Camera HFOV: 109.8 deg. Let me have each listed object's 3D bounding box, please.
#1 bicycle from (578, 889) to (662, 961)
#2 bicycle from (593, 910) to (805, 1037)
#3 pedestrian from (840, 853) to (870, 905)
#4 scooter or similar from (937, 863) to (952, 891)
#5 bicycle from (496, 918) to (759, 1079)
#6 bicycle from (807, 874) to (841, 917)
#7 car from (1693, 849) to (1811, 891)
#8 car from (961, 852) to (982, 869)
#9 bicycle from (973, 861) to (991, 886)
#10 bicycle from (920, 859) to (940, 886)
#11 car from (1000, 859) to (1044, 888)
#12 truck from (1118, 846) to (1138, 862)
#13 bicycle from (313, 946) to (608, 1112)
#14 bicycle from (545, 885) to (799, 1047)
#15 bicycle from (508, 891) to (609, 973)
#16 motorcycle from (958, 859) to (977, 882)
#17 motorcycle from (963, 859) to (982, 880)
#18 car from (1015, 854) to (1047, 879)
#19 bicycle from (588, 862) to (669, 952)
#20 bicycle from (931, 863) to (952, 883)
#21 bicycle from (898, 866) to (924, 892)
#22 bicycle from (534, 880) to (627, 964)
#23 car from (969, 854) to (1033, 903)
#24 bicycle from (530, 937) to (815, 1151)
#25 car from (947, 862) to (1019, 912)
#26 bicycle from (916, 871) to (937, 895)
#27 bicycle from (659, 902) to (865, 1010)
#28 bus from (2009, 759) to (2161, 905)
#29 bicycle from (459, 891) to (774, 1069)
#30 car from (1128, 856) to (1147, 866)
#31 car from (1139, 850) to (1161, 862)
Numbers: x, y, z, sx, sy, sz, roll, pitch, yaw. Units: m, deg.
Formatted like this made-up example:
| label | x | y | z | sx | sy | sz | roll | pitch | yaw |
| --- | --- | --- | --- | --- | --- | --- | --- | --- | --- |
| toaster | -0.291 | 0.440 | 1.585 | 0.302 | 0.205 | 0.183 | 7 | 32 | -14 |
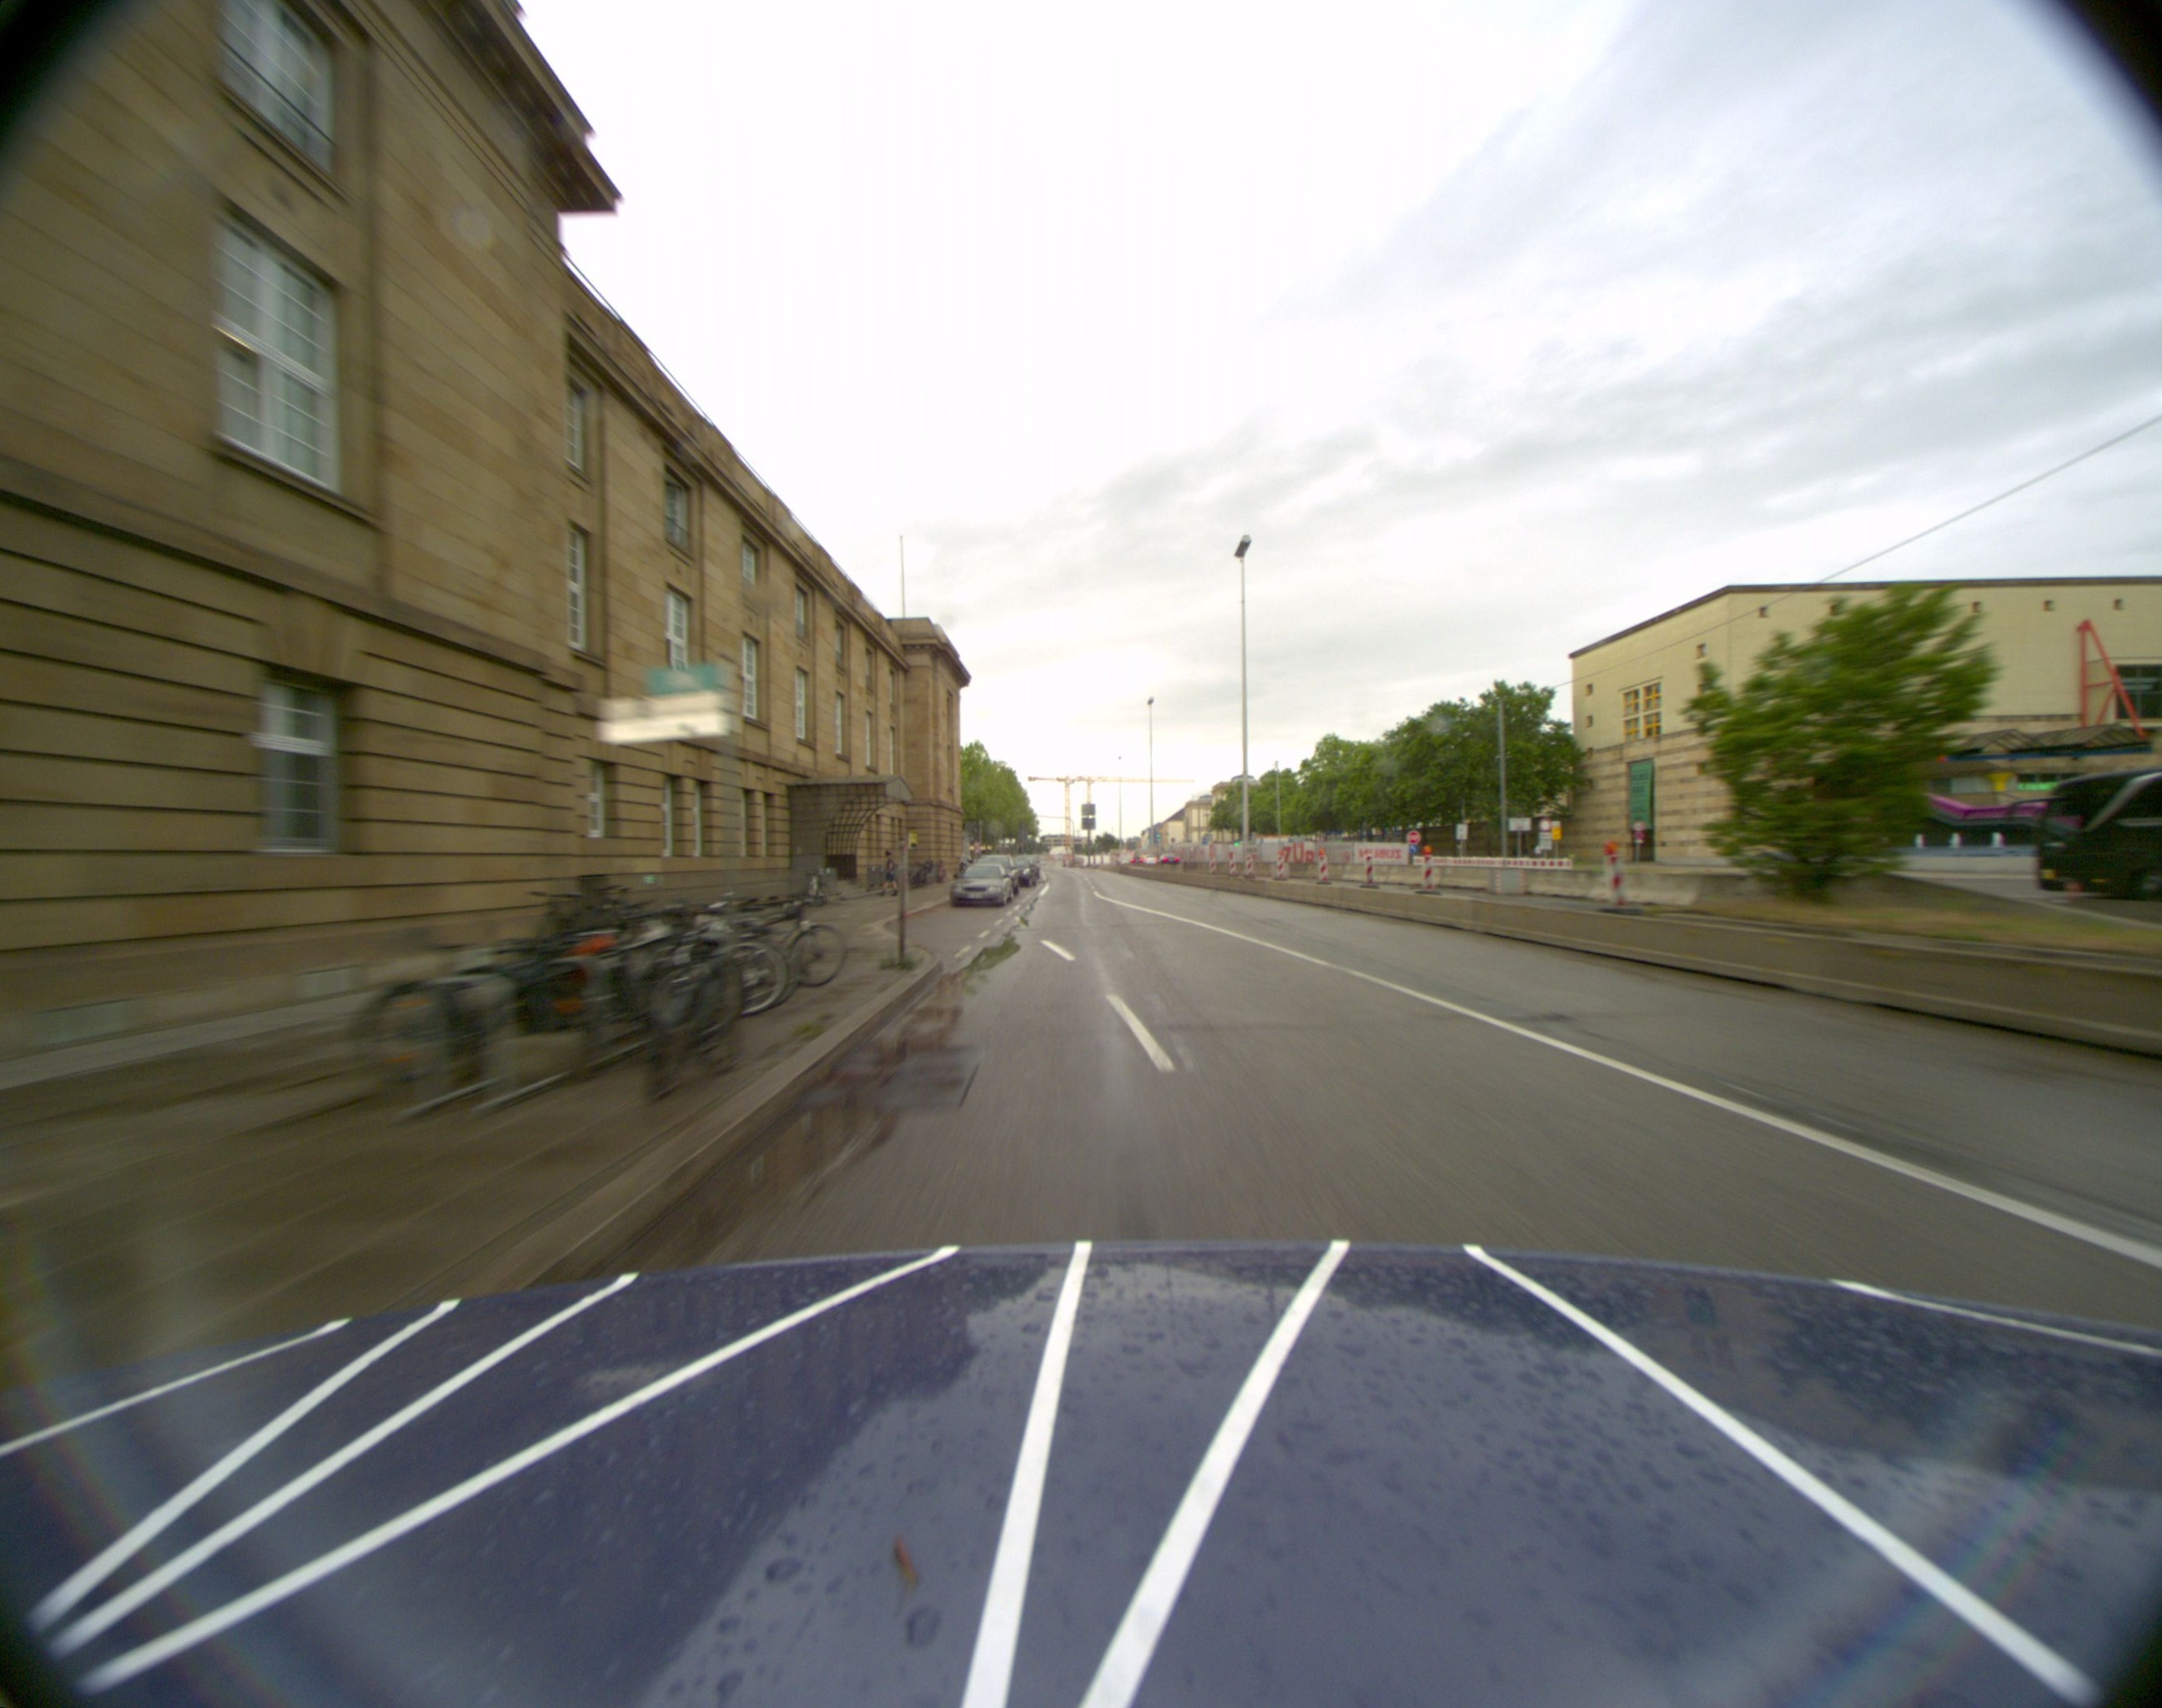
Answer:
| label | x | y | z | sx | sy | sz | roll | pitch | yaw |
| --- | --- | --- | --- | --- | --- | --- | --- | --- | --- |
| bicycle | -8.133 | 1.215 | 13.482 | 0.353 | 1.074 | 1.789 | -2 | 1 | 0 |
| bicycle | -3.632 | 1.125 | 7.309 | 1.683 | 1.084 | 0.650 | -2 | 1 | 2 |
| pedestrian | -7.796 | 0.849 | 26.186 | 0.797 | 1.767 | 0.642 | 2 | 1 | 0 |
| scooter or similar | -7.459 | 1.246 | 41.593 | 0.414 | 1.409 | 1.268 | 3 | 1 | 4 |
| bicycle | -3.505 | 1.102 | 5.950 | 1.683 | 1.116 | 0.601 | -2 | 0 | 2 |
| bicycle | -7.849 | 1.240 | 23.292 | 0.465 | 1.208 | 1.691 | -2 | 1 | -2 |
| car | 25.763 | 0.585 | 29.327 | 1.596 | 1.492 | 3.213 | 1 | 0 | -2 |
| car | -10.882 | 0.634 | 75.779 | 1.585 | 1.528 | 3.021 | 0 | 1 | 2 |
| bicycle | -5.045 | 0.984 | 38.645 | 0.778 | 1.211 | 1.963 | 0 | 1 | -11 |
| bicycle | -7.456 | 0.901 | 37.531 | 0.732 | 1.261 | 1.758 | -1 | 1 | -5 |
| car | -3.095 | 0.983 | 40.334 | 1.762 | 1.406 | 3.153 | 0 | 1 | 6 |
| truck | 8.325 | -0.051 | 136.020 | 2.405 | 2.703 | 7.351 | -1 | 0 | -5 |
| bicycle | -4.215 | 1.180 | 5.220 | 1.593 | 0.988 | 0.525 | -2 | 1 | 2 |
| bicycle | -3.644 | 0.983 | 6.859 | 1.910 | 1.325 | 0.650 | -2 | 1 | 2 |
| bicycle | -8.095 | 1.171 | 11.863 | 0.353 | 1.074 | 1.789 | 0 | 1 | 0 |
| motorcycle | -6.966 | 1.026 | 46.730 | 0.668 | 1.318 | 2.135 | -1 | 1 | 4 |
| motorcycle | -6.978 | 0.978 | 48.964 | 0.808 | 1.291 | 1.799 | -1 | 1 | 4 |
| car | -3.342 | 0.802 | 51.573 | 1.876 | 1.609 | 4.404 | 0 | 0 | 0 |
| bicycle | -8.221 | 0.926 | 13.880 | 0.454 | 1.507 | 1.599 | -3 | 0 | -1 |
| bicycle | -7.745 | 1.042 | 42.197 | 0.419 | 1.043 | 1.773 | -1 | 1 | 13 |
| bicycle | -7.272 | 1.066 | 32.579 | 0.585 | 1.032 | 1.759 | -1 | 1 | 4 |
| bicycle | -8.344 | 1.089 | 12.742 | 0.454 | 1.244 | 1.599 | -3 | 0 | -1 |
| car | -3.218 | 0.945 | 31.320 | 1.998 | 1.771 | 4.188 | -1 | 1 | 2 |
| bicycle | -2.554 | 1.126 | 4.996 | 0.670 | 0.962 | 1.639 | -1 | 1 | 16 |
| car | -3.284 | 1.075 | 26.164 | 1.936 | 1.469 | 3.702 | -2 | 1 | 0 |
| bicycle | -7.241 | 1.337 | 35.648 | 0.714 | 1.045 | 1.739 | -2 | 1 | -5 |
| bicycle | -3.592 | 1.137 | 8.693 | 1.990 | 1.054 | 0.759 | -2 | 1 | -3 |
| bus | 29.254 | -0.621 | 15.797 | 2.810 | 3.789 | 14.600 | -3 | 0 | 4 |
| bicycle | -3.807 | 1.016 | 6.327 | 2.196 | 1.329 | 0.650 | -2 | 1 | 2 |
| car | 8.713 | 1.022 | 117.331 | 1.926 | 1.521 | 4.757 | -1 | 0 | -7 |
| car | 8.959 | 0.291 | 98.884 | 2.000 | 1.521 | 3.997 | -1 | 0 | -7 |
